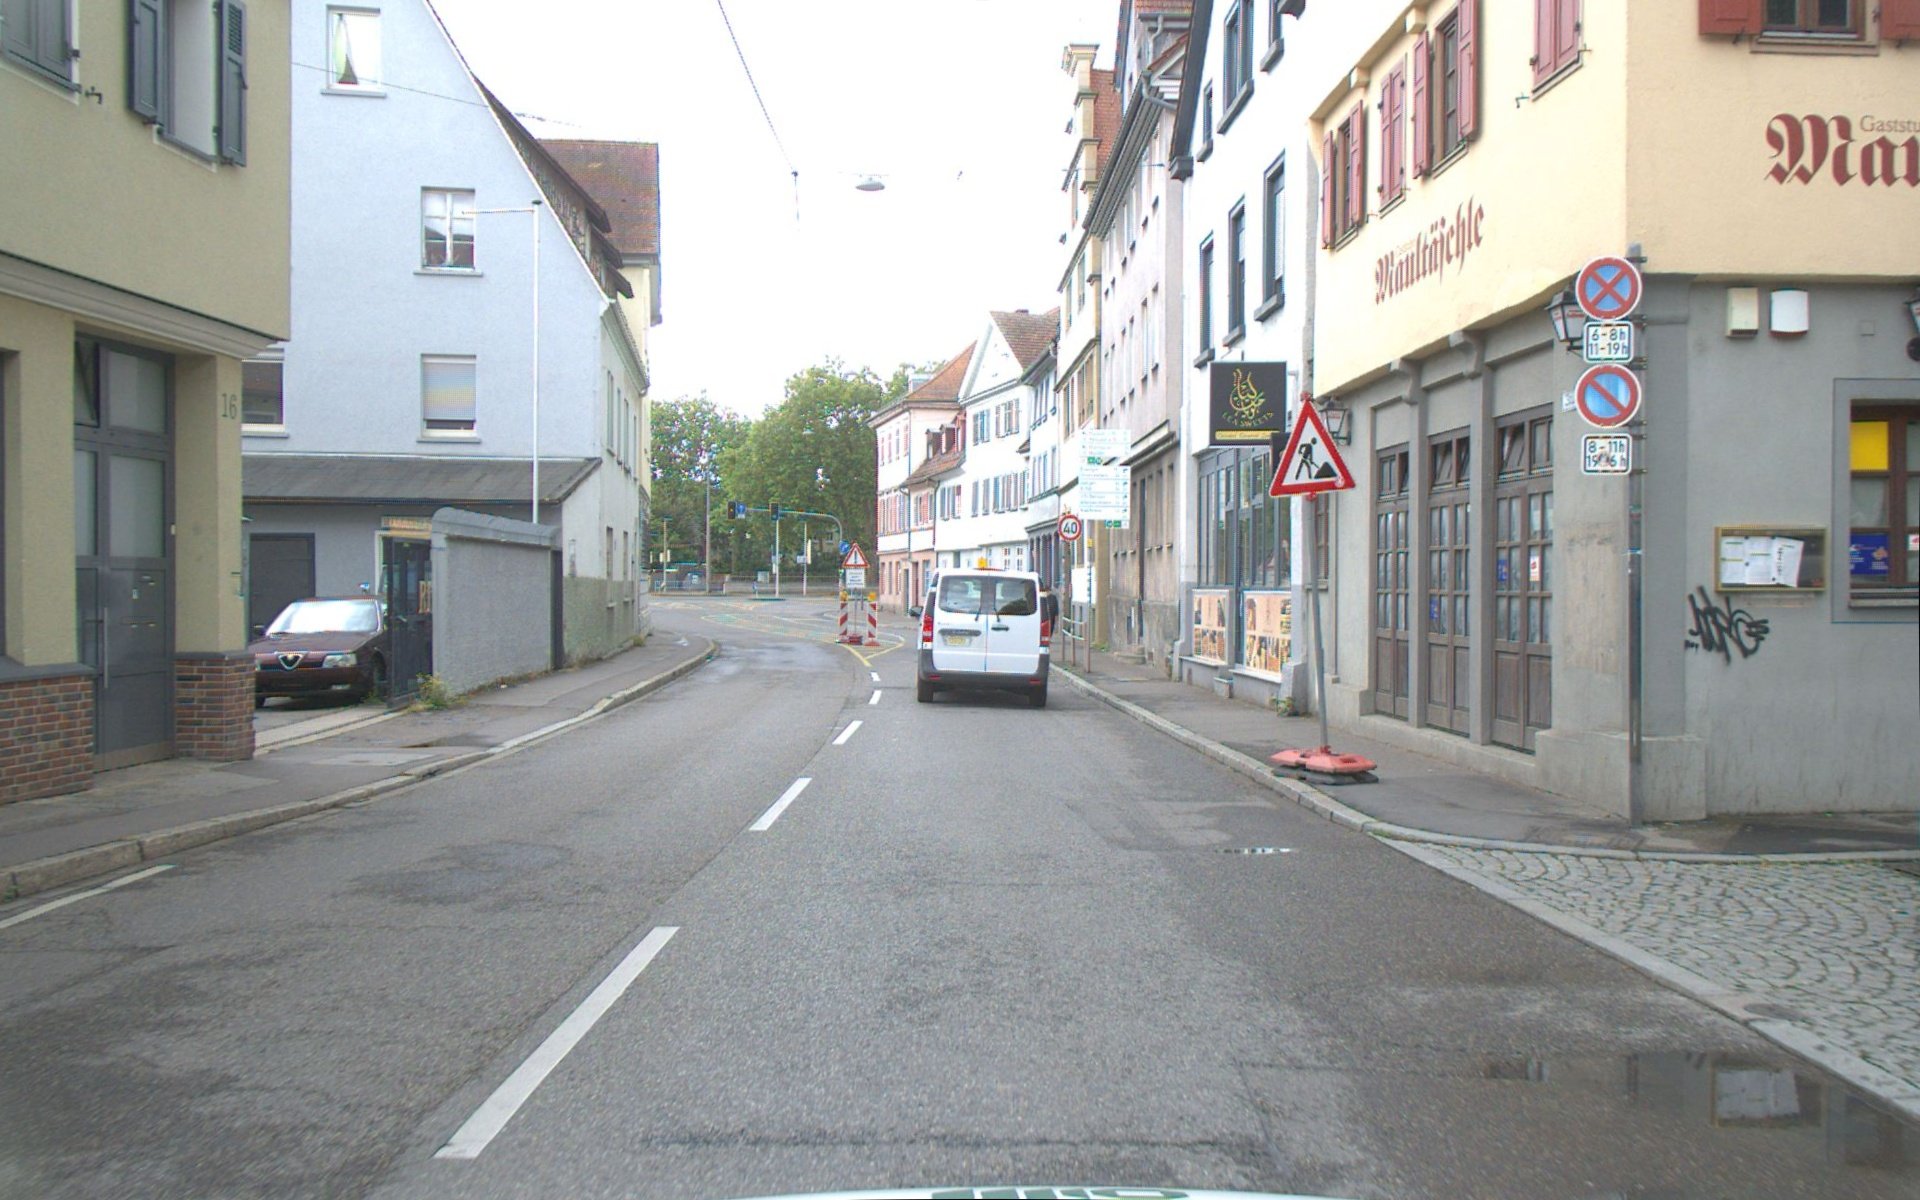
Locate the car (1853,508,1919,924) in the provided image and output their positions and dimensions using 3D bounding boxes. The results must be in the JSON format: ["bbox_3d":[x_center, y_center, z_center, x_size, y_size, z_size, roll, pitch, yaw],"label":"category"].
[{"bbox_3d":[6.327,0.523,6.988,4.159,1.829,1.846,0,2,-5],"label":"car"}]

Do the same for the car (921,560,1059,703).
[{"bbox_3d":[0.362,0.428,24.481,1.835,1.945,3.998,0,0,-2],"label":"car"}]

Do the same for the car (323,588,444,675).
[{"bbox_3d":[-9.890,0.524,28.603,1.618,1.378,3.984,1,0,-15],"label":"car"}]

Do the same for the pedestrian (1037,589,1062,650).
[{"bbox_3d":[2.624,0.579,48.495,0.630,1.777,0.562,1,-1,-5],"label":"pedestrian"}]

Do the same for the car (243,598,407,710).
[{"bbox_3d":[-8.493,0.671,22.398,1.618,1.378,3.984,0,0,-15],"label":"car"}]
